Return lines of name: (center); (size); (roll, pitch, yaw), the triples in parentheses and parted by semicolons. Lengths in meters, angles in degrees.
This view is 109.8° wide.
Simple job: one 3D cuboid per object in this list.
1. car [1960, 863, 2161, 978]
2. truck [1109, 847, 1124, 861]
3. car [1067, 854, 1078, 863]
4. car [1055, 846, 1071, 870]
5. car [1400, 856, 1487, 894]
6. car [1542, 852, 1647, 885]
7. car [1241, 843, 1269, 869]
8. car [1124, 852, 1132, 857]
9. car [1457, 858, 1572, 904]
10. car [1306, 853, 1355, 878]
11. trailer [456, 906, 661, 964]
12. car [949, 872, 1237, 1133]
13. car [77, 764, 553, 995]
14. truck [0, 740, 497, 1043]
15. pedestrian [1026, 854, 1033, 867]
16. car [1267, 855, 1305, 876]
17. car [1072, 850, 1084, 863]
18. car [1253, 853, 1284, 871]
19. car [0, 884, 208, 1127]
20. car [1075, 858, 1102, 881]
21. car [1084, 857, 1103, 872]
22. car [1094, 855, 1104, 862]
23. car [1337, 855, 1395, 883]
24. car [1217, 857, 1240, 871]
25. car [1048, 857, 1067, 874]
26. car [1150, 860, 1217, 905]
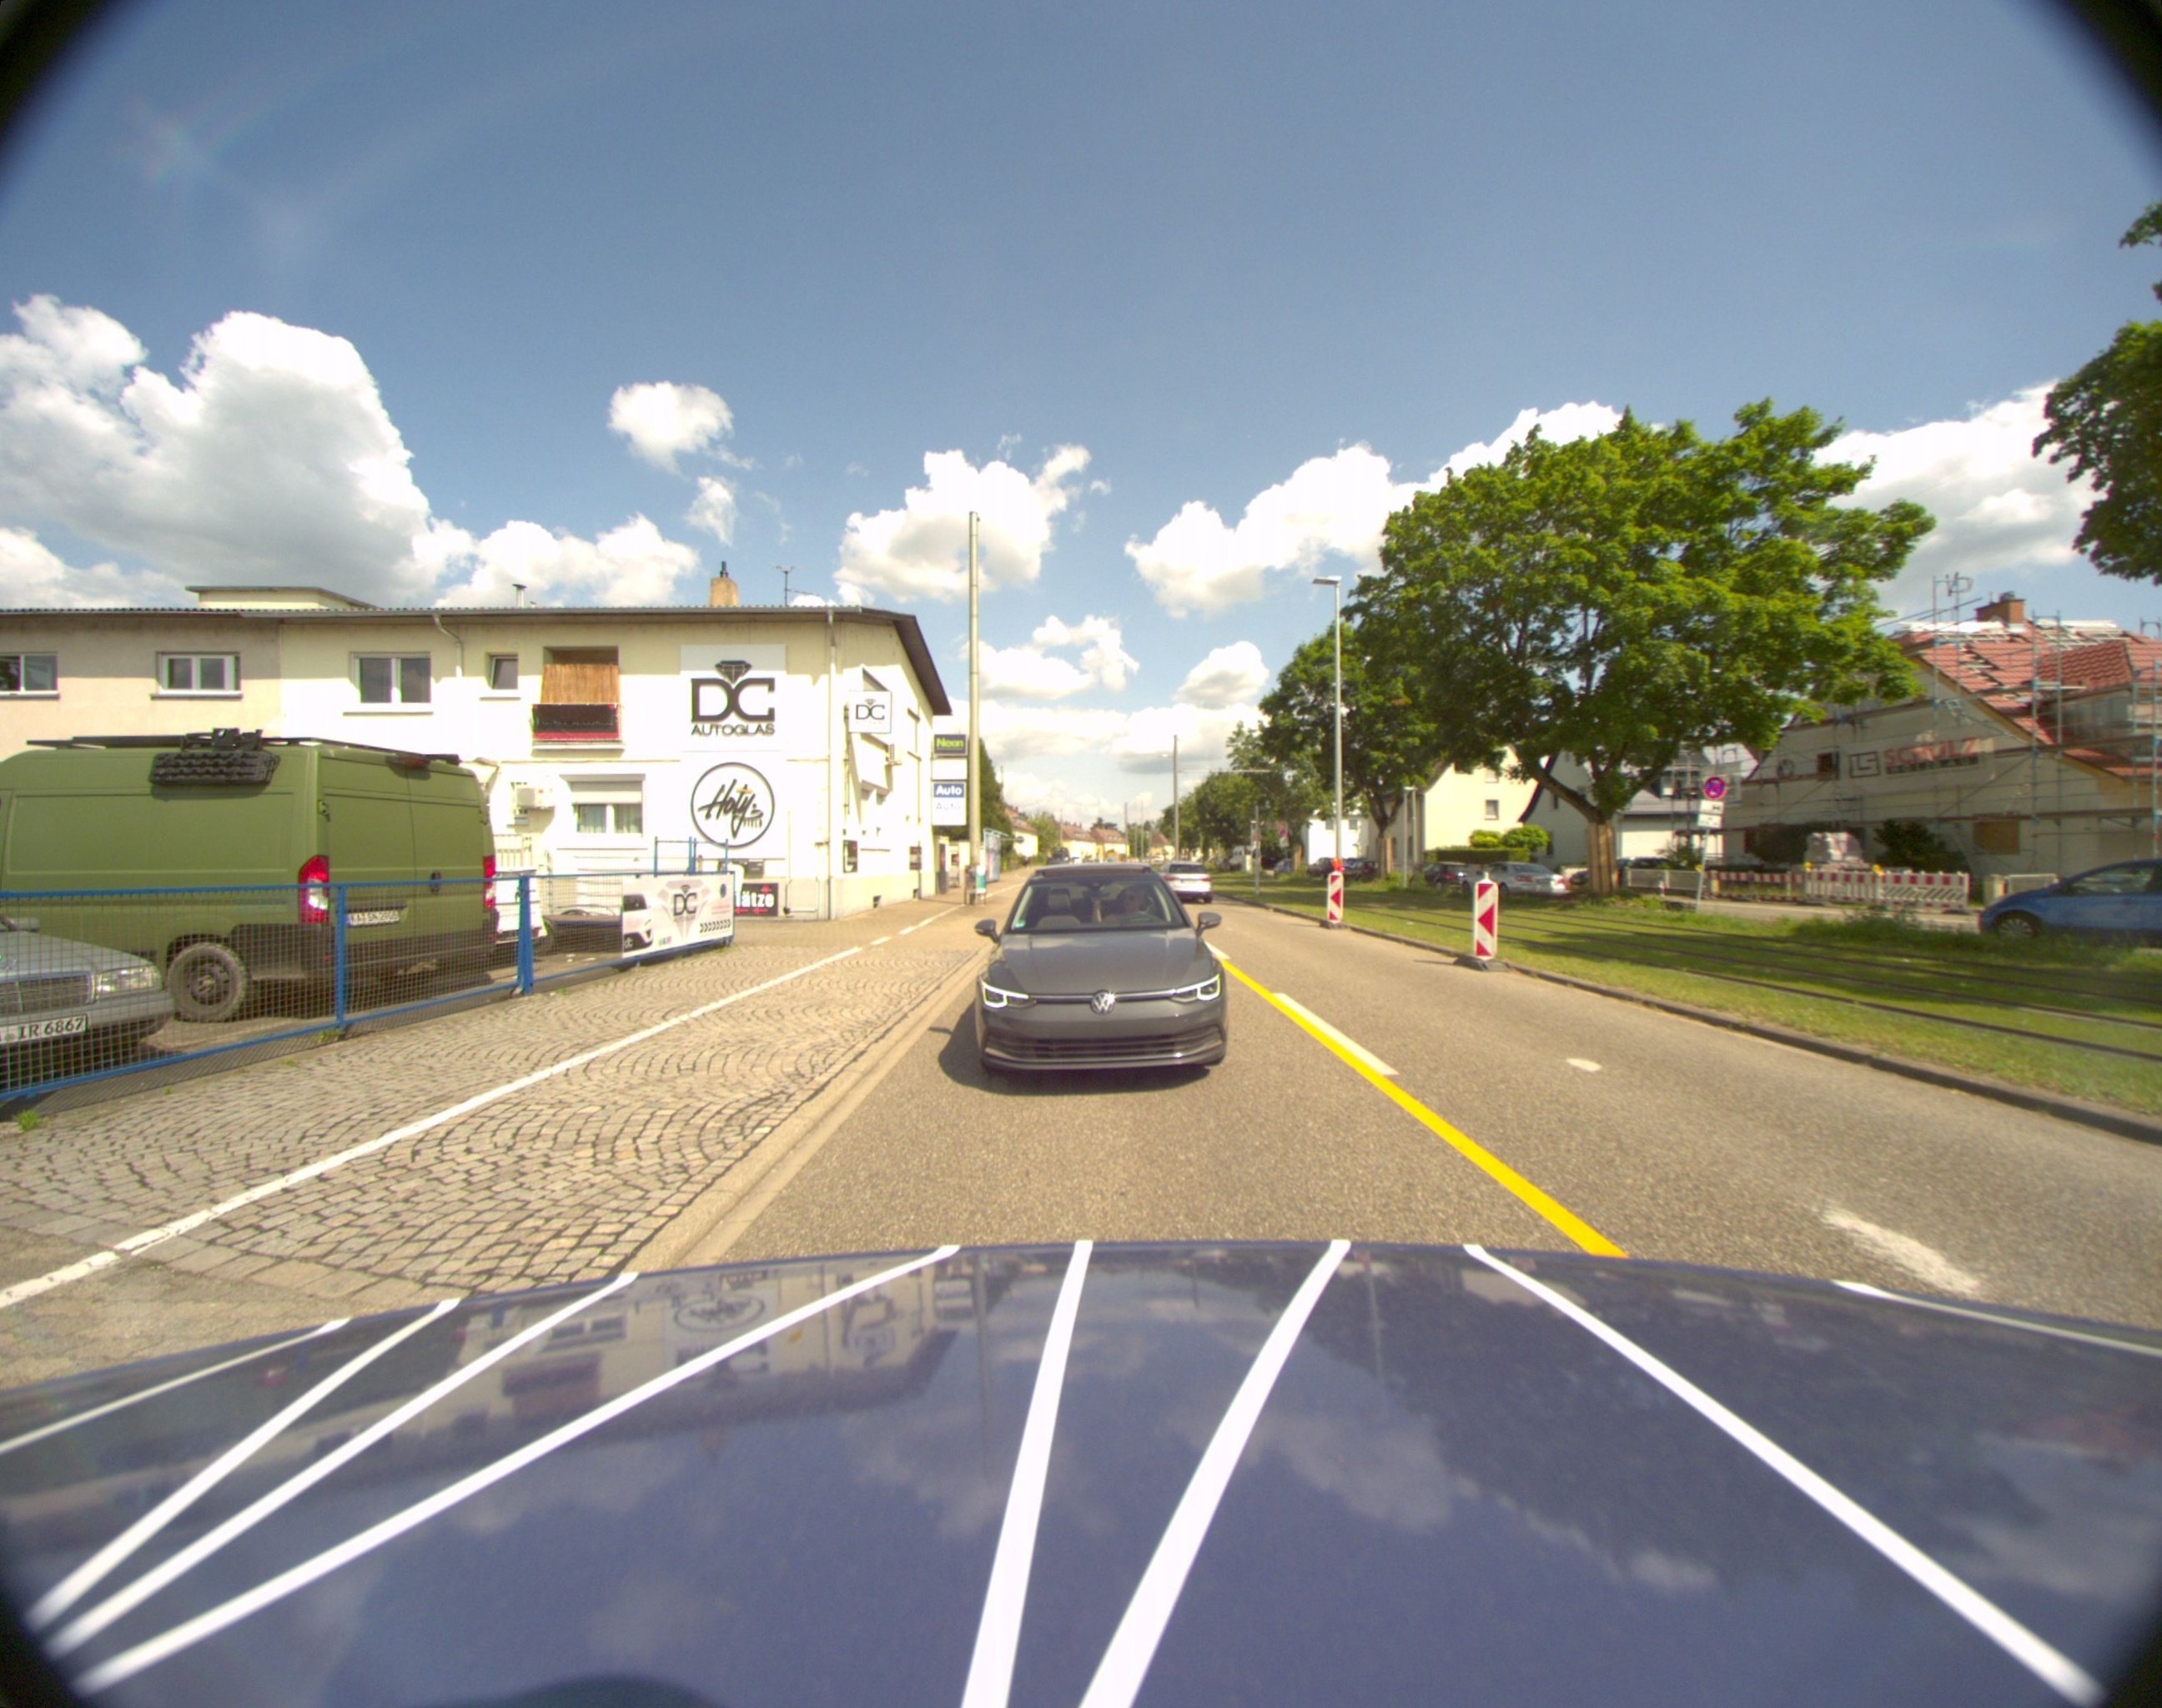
car: (16.220, 0.959, 11.239); (1.755, 1.602, 4.050); (0, 0, 0)
truck: (9.394, 0.027, 201.141); (2.590, 3.431, 8.585); (0, 0, 11)
car: (-1.372, 0.742, 122.835); (1.720, 1.470, 4.009); (0, 0, 0)
car: (-1.924, 0.414, 82.855); (1.720, 2.526, 5.794); (0, 0, 0)
car: (16.586, 0.918, 35.036); (1.755, 1.602, 4.606); (0, 0, 0)
car: (25.508, 0.721, 37.840); (4.047, 1.602, 1.757); (0, 0, 1)
car: (17.640, 0.199, 77.133); (1.755, 2.601, 4.606); (0, 0, 0)
car: (13.519, 0.241, 218.484); (1.718, 1.470, 4.013); (0, 0, 13)
car: (16.385, 0.966, 29.014); (1.755, 1.602, 4.606); (0, 0, 0)
car: (16.674, 0.765, 50.914); (1.755, 1.602, 4.606); (0, 0, 0)
trailer: (-8.065, 1.238, 11.842); (2.329, 0.762, 1.269); (0, 0, 2)
car: (0.097, 0.938, 6.555); (1.719, 1.470, 4.009); (0, 0, 1)
car: (-9.457, 0.302, 9.657); (4.209, 2.653, 1.803); (0, 0, 0)
truck: (-8.626, 0.329, 7.572); (3.997, 2.592, 2.069); (0, 0, 1)
pedestrian: (-6.338, 0.780, 93.571); (0.816, 1.577, 0.918); (0, 0, 1)
car: (16.490, 0.918, 61.363); (1.755, 1.602, 4.606); (0, 0, 0)
car: (-0.437, 0.404, 136.329); (1.719, 2.360, 5.211); (0, 0, 5)
car: (17.579, 0.758, 71.503); (1.755, 1.602, 4.606); (0, 0, 0)
car: (-8.439, 0.918, 4.815); (4.206, 1.388, 1.804); (0, 0, 8)
car: (0.516, 1.035, 51.786); (1.719, 1.470, 4.009); (0, 0, 1)
car: (1.219, 1.009, 73.780); (1.787, 1.470, 4.009); (0, 0, 1)
car: (4.095, 1.000, 172.742); (1.718, 1.470, 4.011); (0, 0, 8)
car: (16.896, 0.852, 45.274); (1.755, 1.602, 4.606); (0, 0, 0)
car: (16.926, 1.155, 87.277); (1.755, 1.602, 4.606); (0, 0, 0)
car: (-2.166, 1.068, 70.993); (1.720, 1.470, 4.009); (0, 0, 0)
car: (3.530, 0.946, 26.803); (1.755, 1.405, 4.261); (0, 0, 0)
